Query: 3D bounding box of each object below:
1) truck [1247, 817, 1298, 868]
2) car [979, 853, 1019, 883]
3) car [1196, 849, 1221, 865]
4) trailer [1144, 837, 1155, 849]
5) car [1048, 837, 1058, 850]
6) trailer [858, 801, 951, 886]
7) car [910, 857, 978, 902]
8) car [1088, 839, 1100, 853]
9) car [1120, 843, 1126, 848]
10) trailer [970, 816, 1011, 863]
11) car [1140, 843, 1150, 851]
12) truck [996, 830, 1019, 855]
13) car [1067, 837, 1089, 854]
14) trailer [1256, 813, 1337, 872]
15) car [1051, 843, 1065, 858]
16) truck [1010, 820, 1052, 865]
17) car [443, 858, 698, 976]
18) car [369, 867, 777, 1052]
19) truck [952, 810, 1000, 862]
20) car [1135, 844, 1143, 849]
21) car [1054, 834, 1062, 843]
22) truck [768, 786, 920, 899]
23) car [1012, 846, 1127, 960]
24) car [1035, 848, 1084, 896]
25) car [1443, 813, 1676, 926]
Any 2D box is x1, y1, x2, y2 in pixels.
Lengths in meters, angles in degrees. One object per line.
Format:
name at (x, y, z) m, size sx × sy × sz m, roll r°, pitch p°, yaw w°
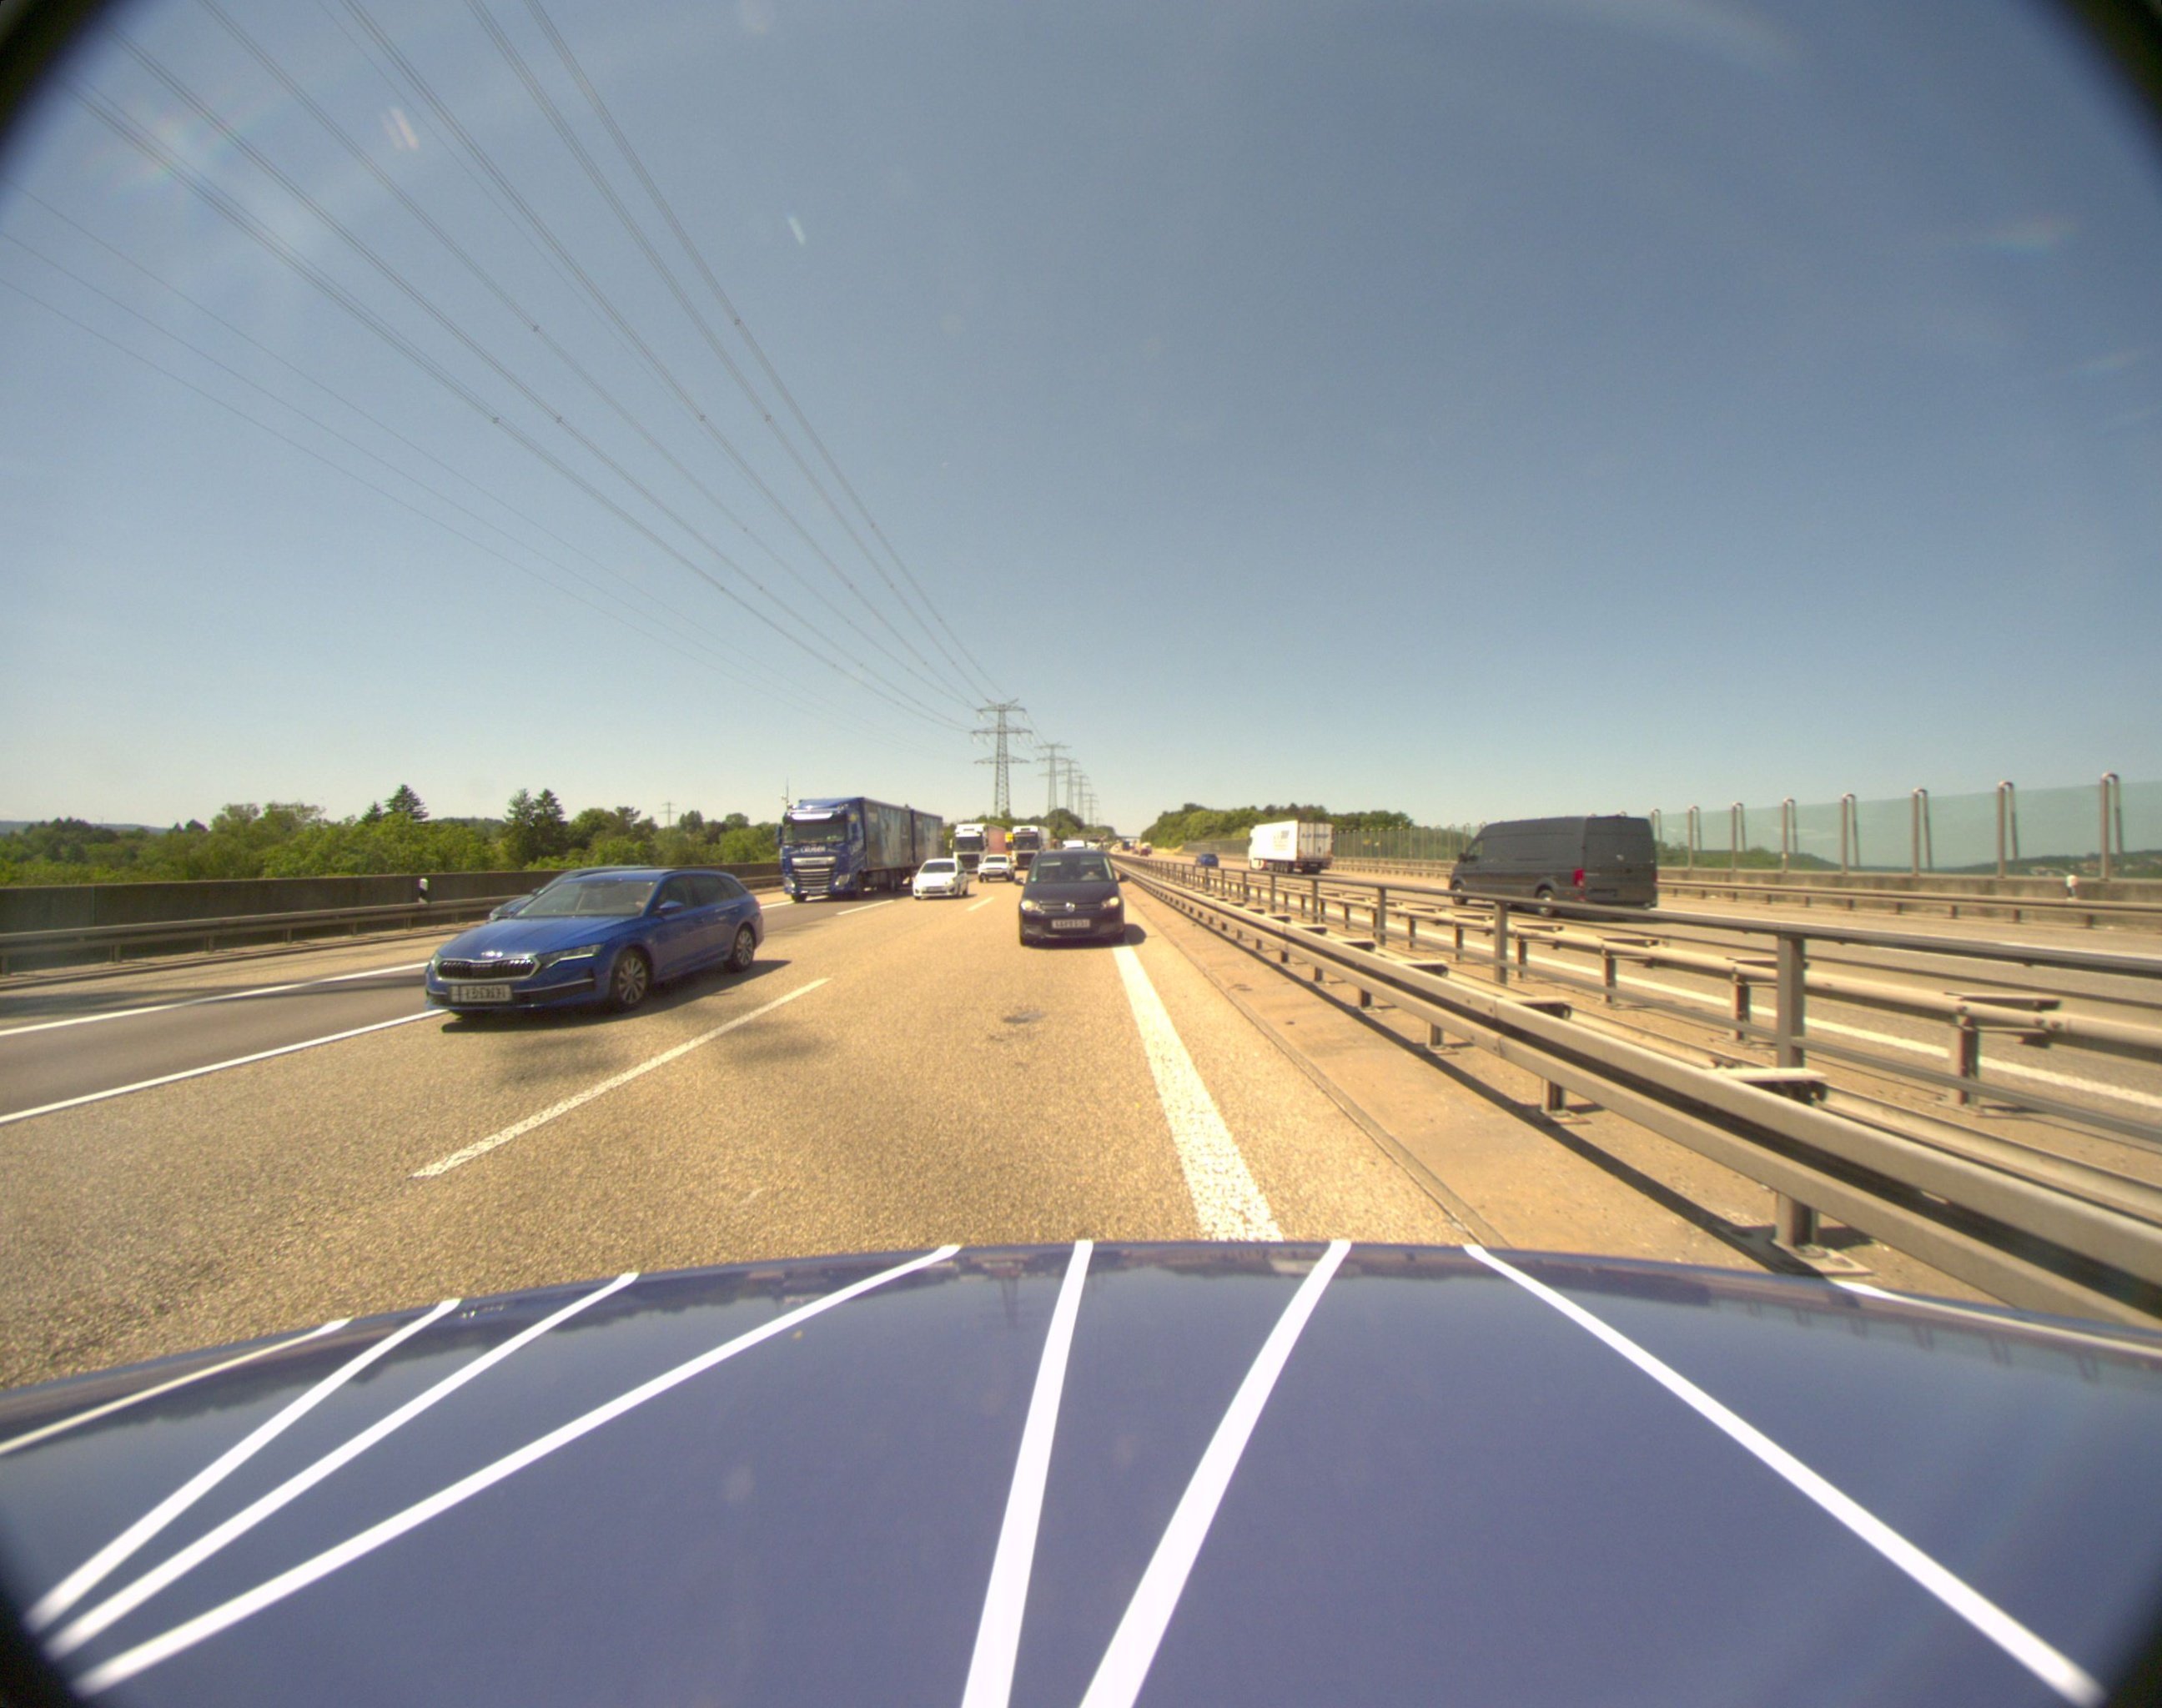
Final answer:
truck at (17.150, -1.046, 68.499) m, size 2.936 × 4.269 × 6.856 m, roll 2°, pitch 1°, yaw 1°
car at (-4.644, 0.744, 43.493) m, size 1.712 × 1.501 × 4.143 m, roll -2°, pitch 1°, yaw 1°
car at (12.458, 0.261, 74.408) m, size 1.777 × 1.483 × 4.604 m, roll 0°, pitch 1°, yaw 1°
trailer at (21.006, -3.468, 233.203) m, size 2.505 × 3.520 × 10.901 m, roll 0°, pitch 1°, yaw 1°
car at (-5.725, -2.103, 155.992) m, size 1.704 × 2.525 × 3.999 m, roll 2°, pitch 1°, yaw 1°
trailer at (-9.438, -0.599, 41.759) m, size 2.835 × 4.066 × 8.636 m, roll -2°, pitch 1°, yaw 1°
car at (-5.155, 0.900, 29.122) m, size 1.712 × 1.443 × 4.143 m, roll -2°, pitch 1°, yaw 1°
car at (2.018, -1.242, 118.475) m, size 1.704 × 2.116 × 3.999 m, roll -2°, pitch 1°, yaw 1°
car at (14.541, -2.989, 265.285) m, size 1.876 × 1.521 × 3.608 m, roll 4°, pitch 1°, yaw 0°
trailer at (-8.496, -1.399, 72.342) m, size 2.608 × 4.094 × 9.083 m, roll -2°, pitch 1°, yaw 1°
car at (14.731, -1.564, 174.938) m, size 1.844 × 1.812 × 4.746 m, roll 0°, pitch 1°, yaw -1°
truck at (-9.096, -1.471, 94.701) m, size 2.251 × 2.966 × 6.242 m, roll 1°, pitch 1°, yaw -1°
car at (-0.251, -0.843, 72.920) m, size 1.924 × 1.501 × 3.996 m, roll -2°, pitch 1°, yaw 1°
trailer at (17.019, -0.949, 61.390) m, size 2.913 × 4.283 × 13.659 m, roll 0°, pitch 1°, yaw 1°
car at (-3.261, -0.488, 108.309) m, size 1.704 × 2.116 × 3.999 m, roll 2°, pitch 1°, yaw 1°
truck at (-4.500, -1.052, 69.987) m, size 2.849 × 3.804 × 8.264 m, roll -2°, pitch 1°, yaw 2°
car at (-8.906, 0.984, 13.769) m, size 1.712 × 1.645 × 4.117 m, roll -2°, pitch 1°, yaw 1°
car at (-5.508, 0.998, 9.150) m, size 1.712 × 1.443 × 4.562 m, roll -2°, pitch 1°, yaw 1°
truck at (-8.675, -1.462, 63.672) m, size 2.608 × 3.965 × 8.263 m, roll -2°, pitch 1°, yaw 1°
car at (16.032, -2.122, 211.539) m, size 1.876 × 1.434 × 4.384 m, roll 1°, pitch 1°, yaw 0°
car at (-5.555, -3.669, 182.986) m, size 1.704 × 2.116 × 3.999 m, roll 2°, pitch 1°, yaw 1°
truck at (-9.572, -0.504, 32.313) m, size 2.859 × 3.927 × 10.392 m, roll -2°, pitch 1°, yaw 1°
car at (-0.176, 0.741, 13.718) m, size 1.713 × 1.669 × 3.931 m, roll -2°, pitch 1°, yaw 0°
car at (-0.790, 0.641, 29.698) m, size 1.713 × 1.669 × 3.931 m, roll -2°, pitch 1°, yaw 0°
car at (12.571, 0.295, 20.771) m, size 1.999 × 2.567 × 6.648 m, roll 1°, pitch 1°, yaw -1°
